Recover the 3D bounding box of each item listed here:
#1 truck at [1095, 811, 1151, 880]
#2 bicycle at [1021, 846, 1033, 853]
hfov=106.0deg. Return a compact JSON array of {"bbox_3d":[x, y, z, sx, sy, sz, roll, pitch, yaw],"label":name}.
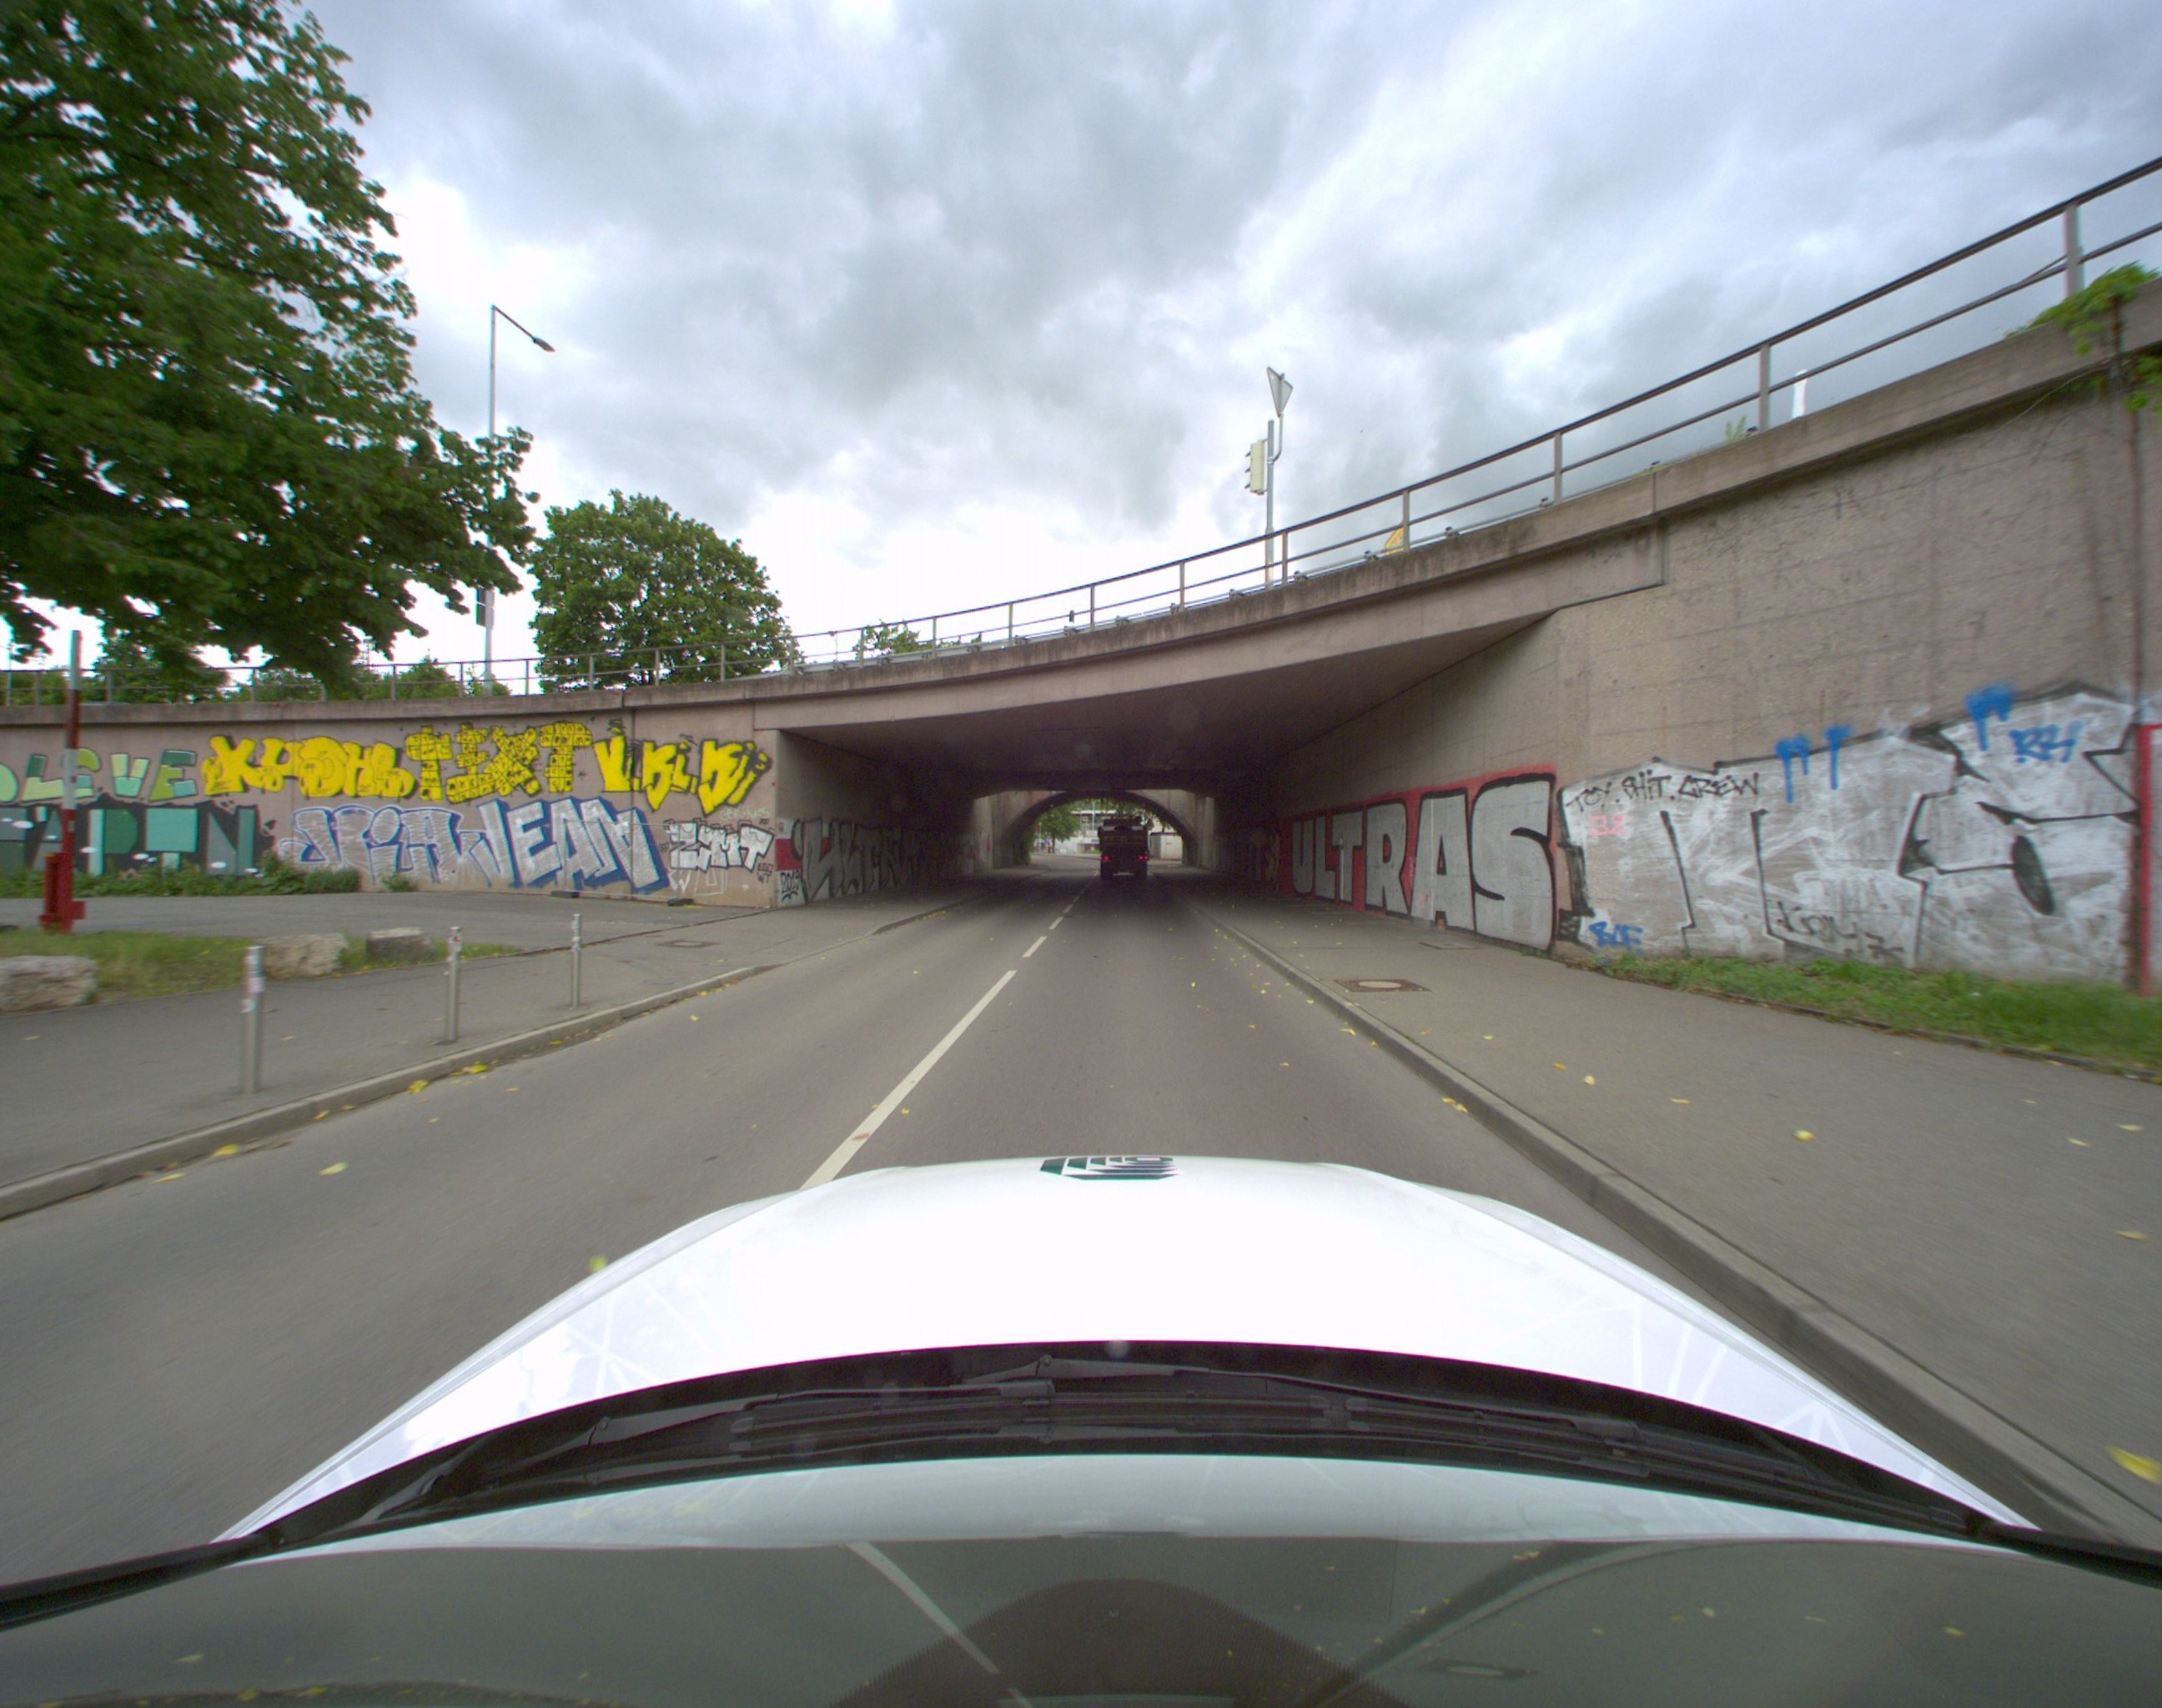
[{"bbox_3d":[2.492,-0.553,45.901,2.752,3.483,8.140,-2,1,5],"label":"truck"},{"bbox_3d":[-8.750,-0.706,132.356,1.981,0.865,0.505,5,-2,-37],"label":"bicycle"}]
